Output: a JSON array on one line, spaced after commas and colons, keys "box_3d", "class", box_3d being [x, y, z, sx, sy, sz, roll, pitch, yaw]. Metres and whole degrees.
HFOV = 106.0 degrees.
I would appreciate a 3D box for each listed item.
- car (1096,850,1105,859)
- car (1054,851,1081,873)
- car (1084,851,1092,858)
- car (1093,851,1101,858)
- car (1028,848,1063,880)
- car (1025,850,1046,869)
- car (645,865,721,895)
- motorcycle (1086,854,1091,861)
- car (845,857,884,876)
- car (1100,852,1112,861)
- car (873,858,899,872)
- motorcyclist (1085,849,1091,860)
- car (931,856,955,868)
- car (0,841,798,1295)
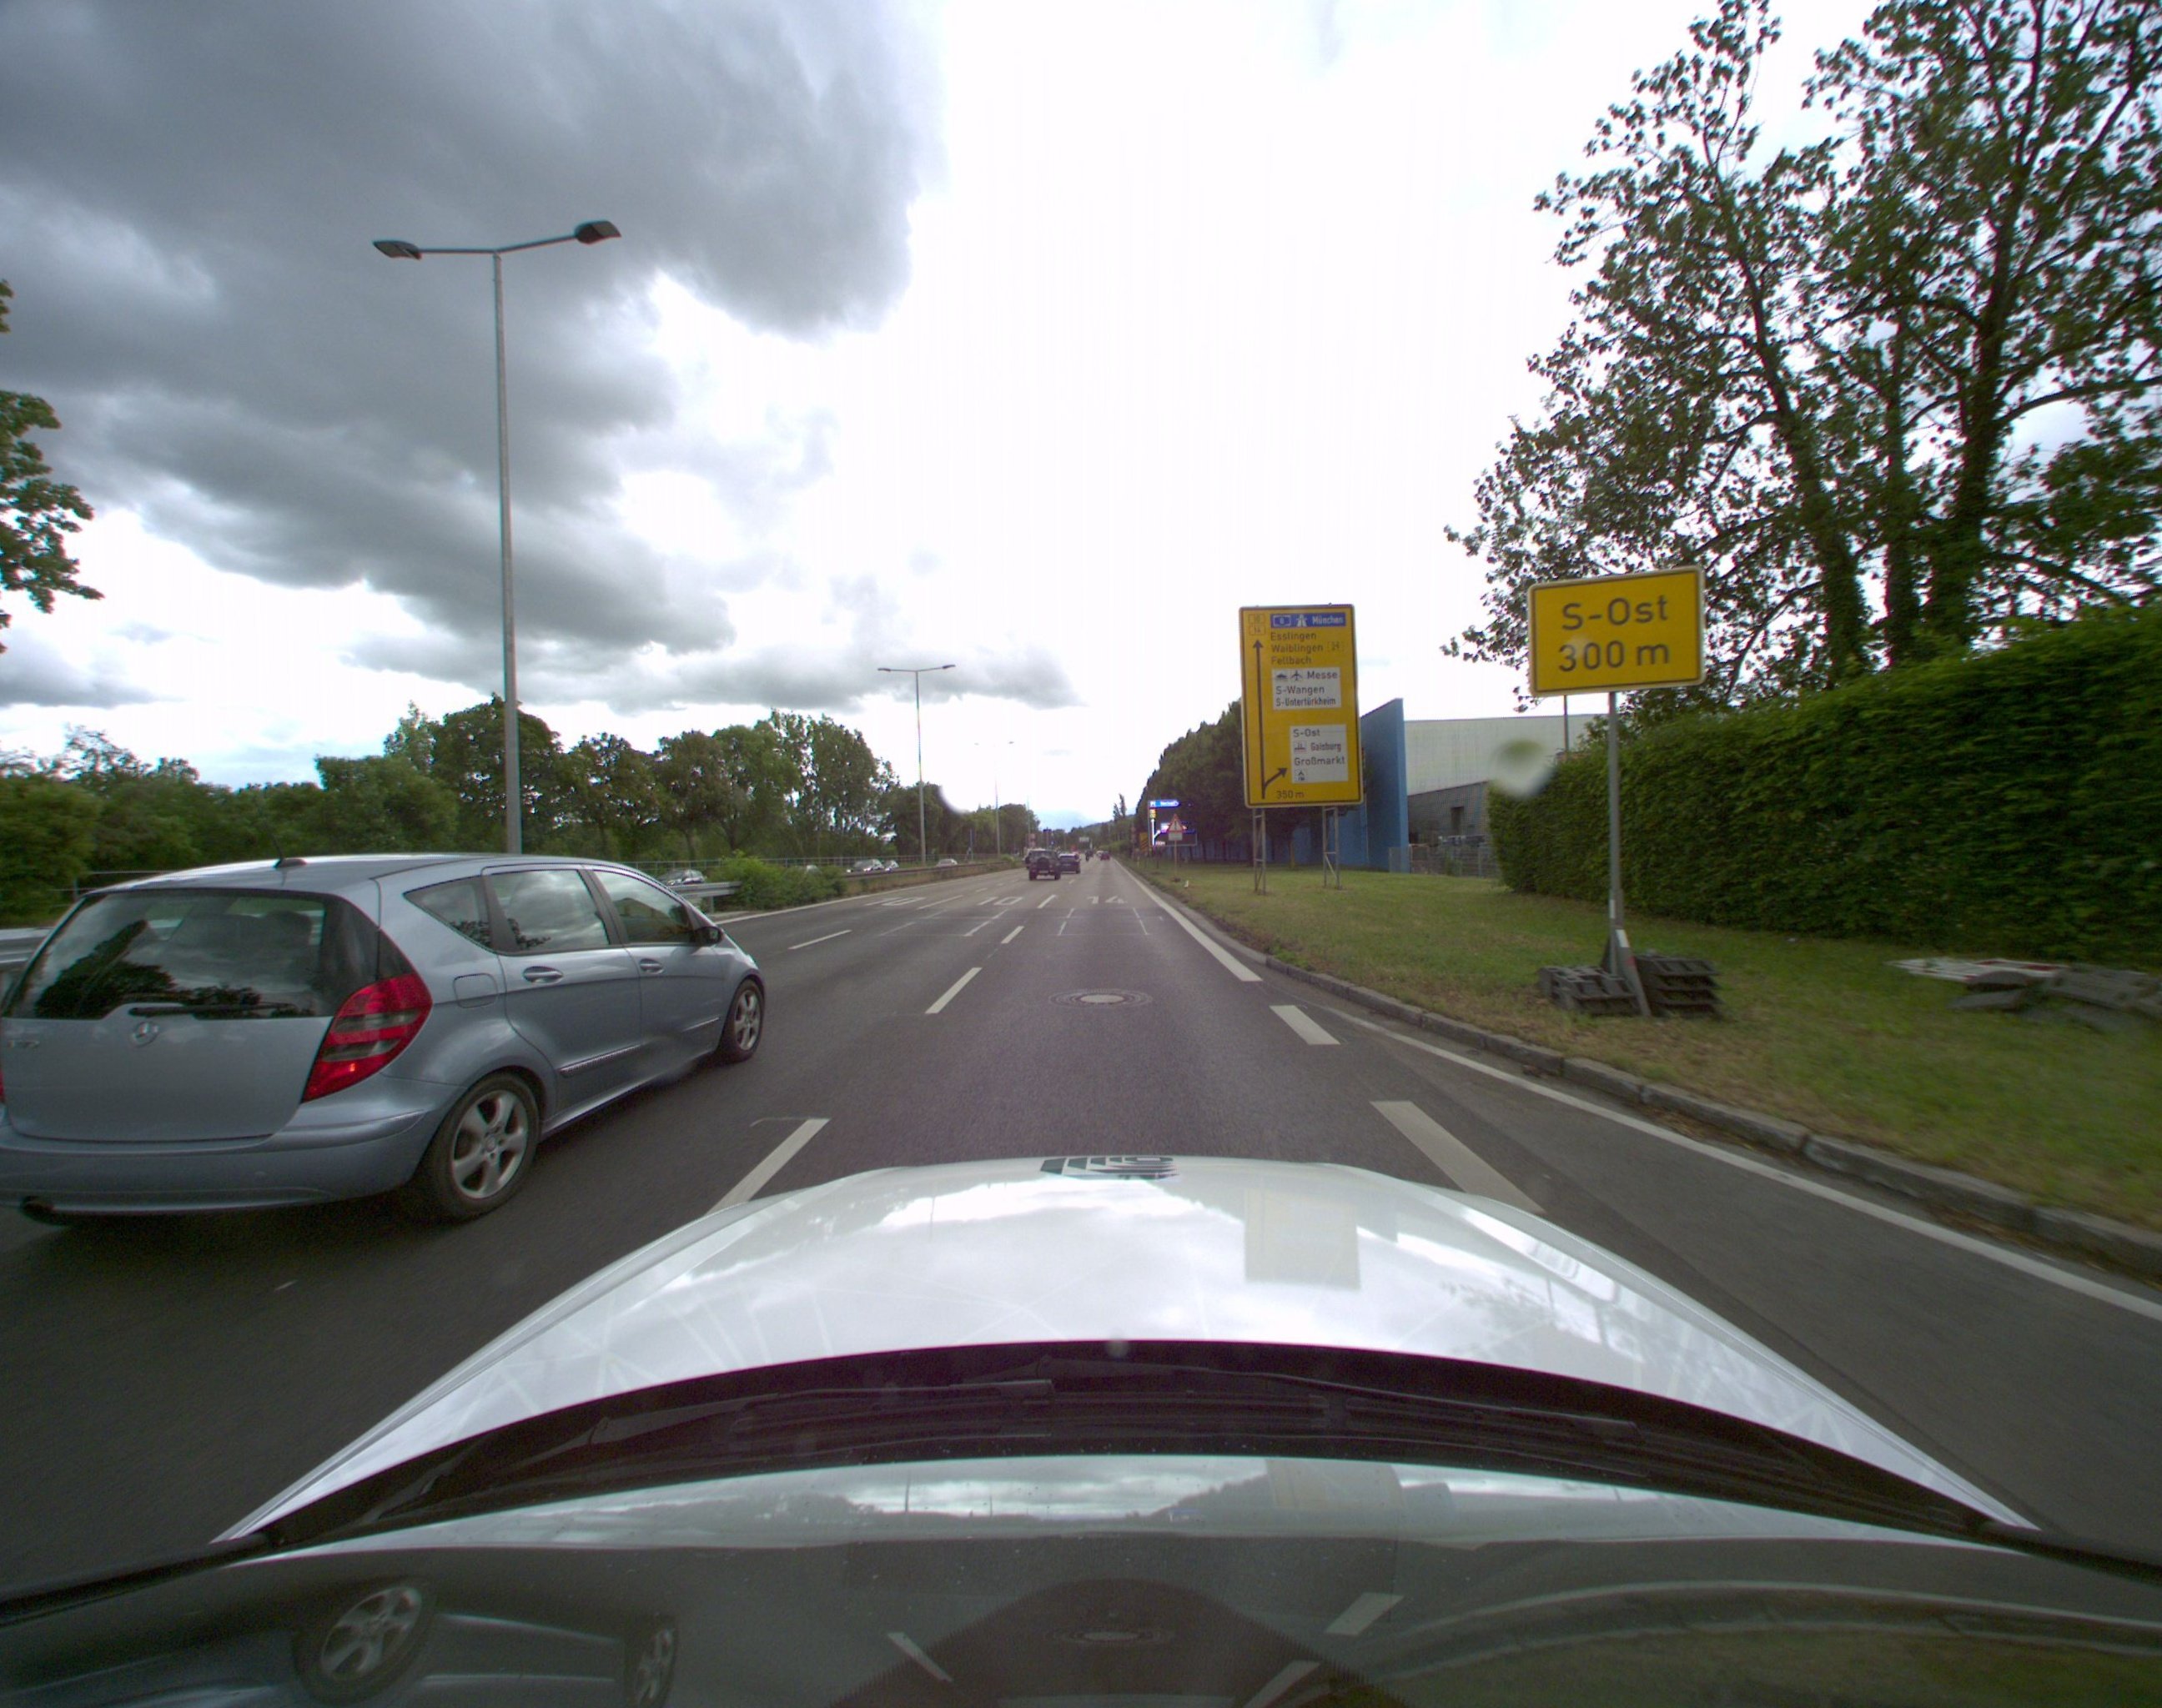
[{"box_3d": [4.703, 0.168, 200.388, 2.006, 1.934, 4.900, -3, 0, 1], "class": "car"}, {"box_3d": [-0.953, 0.580, 60.470, 1.839, 1.423, 4.901, -3, 0, 1], "class": "car"}, {"box_3d": [1.878, 0.147, 212.902, 2.006, 1.934, 4.901, -2, 0, 1], "class": "car"}, {"box_3d": [4.785, 0.189, 239.431, 2.008, 1.934, 4.897, -3, 0, -1], "class": "car"}, {"box_3d": [-1.974, 0.535, 46.436, 1.691, 1.686, 4.002, 0, 0, 2], "class": "car"}, {"box_3d": [-4.288, 0.480, 76.923, 1.692, 1.742, 4.000, 0, 0, 1], "class": "car"}, {"box_3d": [-21.227, 1.361, 43.630, 1.920, 1.418, 4.367, -2, 0, 0], "class": "car"}, {"box_3d": [1.205, 0.620, 137.905, 0.788, 1.219, 2.331, -2, 0, 2], "class": "motorcycle"}, {"box_3d": [-17.041, 0.953, 64.279, 1.770, 1.418, 4.068, -2, 0, 2], "class": "car"}, {"box_3d": [4.346, 0.421, 143.809, 1.968, 1.423, 4.900, -3, 0, 1], "class": "car"}, {"box_3d": [-19.910, 1.131, 83.411, 1.573, 1.299, 4.063, -2, 0, 2], "class": "car"}, {"box_3d": [1.190, 0.055, 137.981, 0.788, 1.760, 0.923, -2, 0, 1], "class": "motorcyclist"}, {"box_3d": [-13.446, 0.777, 79.383, 1.539, 1.105, 4.068, -2, 0, 2], "class": "car"}, {"box_3d": [-3.414, 0.739, 4.898, 1.872, 1.539, 4.147, -2, 0, 1], "class": "car"}]
